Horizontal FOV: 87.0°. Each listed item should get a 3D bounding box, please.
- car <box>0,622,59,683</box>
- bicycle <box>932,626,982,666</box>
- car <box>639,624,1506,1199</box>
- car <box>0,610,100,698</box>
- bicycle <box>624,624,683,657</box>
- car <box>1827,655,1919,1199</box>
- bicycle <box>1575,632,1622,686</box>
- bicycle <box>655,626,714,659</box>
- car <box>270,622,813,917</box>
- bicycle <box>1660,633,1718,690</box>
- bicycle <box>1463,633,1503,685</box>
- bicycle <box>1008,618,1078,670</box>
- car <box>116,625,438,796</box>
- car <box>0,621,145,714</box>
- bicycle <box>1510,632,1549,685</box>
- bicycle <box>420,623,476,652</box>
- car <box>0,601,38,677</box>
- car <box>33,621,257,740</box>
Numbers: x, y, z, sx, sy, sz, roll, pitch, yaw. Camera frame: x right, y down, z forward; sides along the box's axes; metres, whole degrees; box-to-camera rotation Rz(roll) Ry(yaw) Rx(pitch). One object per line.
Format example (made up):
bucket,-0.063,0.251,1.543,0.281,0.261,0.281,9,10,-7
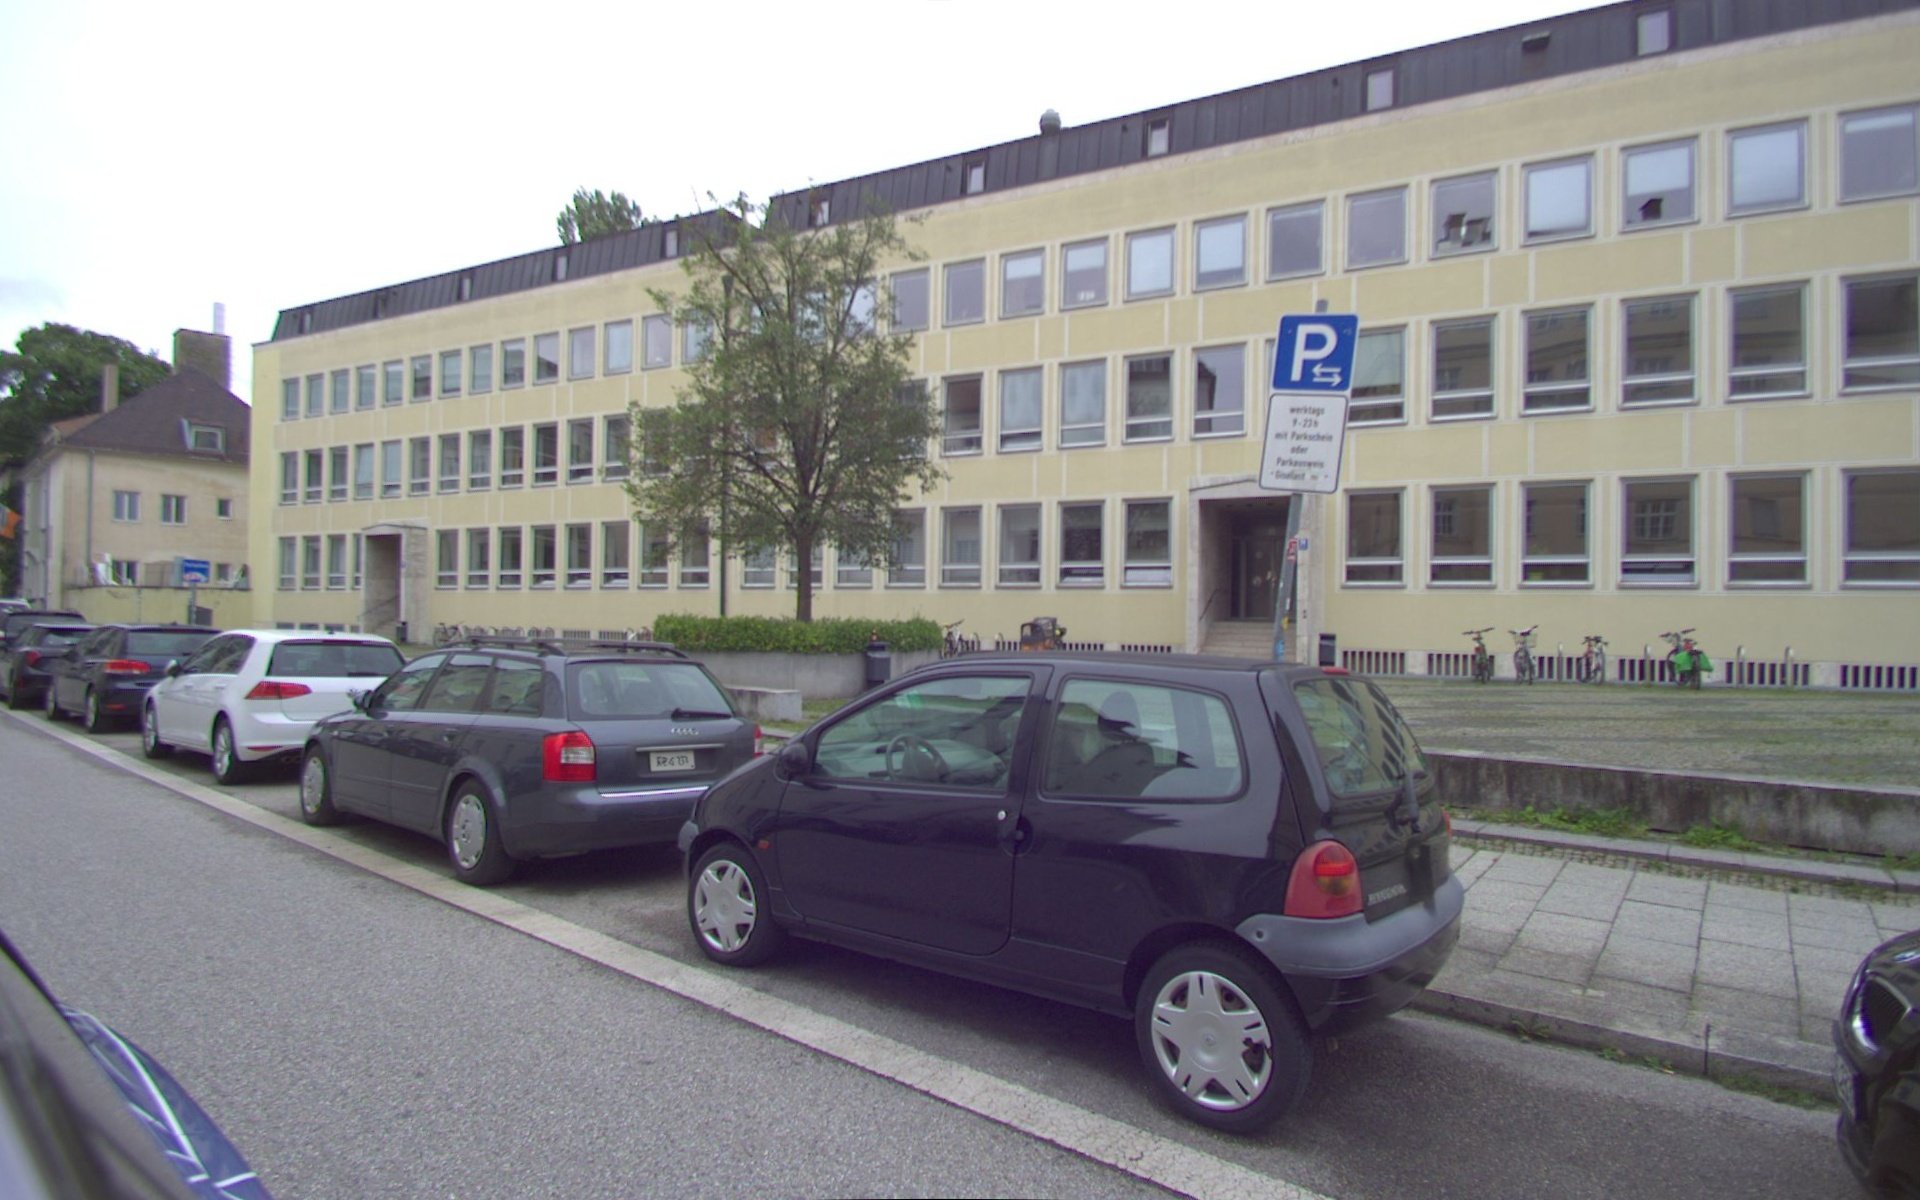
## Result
car,-23.728,1.260,25.023,3.917,1.398,1.725,-1,-1,42
bicycle,-0.055,1.229,27.518,0.622,1.022,1.937,-1,-1,24
car,0.326,0.872,4.319,3.308,1.465,1.640,-1,-3,39
car,-19.742,1.107,21.316,4.446,1.679,1.725,-1,-5,41
bicycle,-10.052,1.320,33.214,0.623,1.022,1.932,-1,-1,31
car,4.112,0.836,1.245,4.446,1.416,1.783,0,-3,36
bicycle,12.927,1.166,20.532,0.622,1.022,1.935,-1,-1,27
bicycle,-8.822,1.337,32.479,0.623,1.022,1.932,-1,-1,31
car,-3.177,0.926,7.205,4.393,1.465,1.737,-1,-3,41
bicycle,14.117,1.159,19.646,0.622,1.022,1.935,-1,-1,27
bicycle,10.908,1.203,21.087,0.623,1.022,1.932,-1,-1,31
bicycle,2.175,1.104,26.145,1.050,1.258,2.422,-1,-1,24
car,-7.341,1.030,10.735,4.068,1.465,1.640,-1,-3,39
car,-15.866,1.125,17.808,3.867,1.465,1.663,-1,-3,41
bicycle,11.694,1.181,20.822,0.622,1.022,1.935,-1,-1,27
bicycle,-18.935,1.374,37.474,0.577,1.022,1.937,-1,0,24
car,-27.382,1.039,28.054,5.017,1.994,1.909,0,-3,39
car,-11.771,1.072,14.536,3.969,1.465,1.640,-1,-3,39
